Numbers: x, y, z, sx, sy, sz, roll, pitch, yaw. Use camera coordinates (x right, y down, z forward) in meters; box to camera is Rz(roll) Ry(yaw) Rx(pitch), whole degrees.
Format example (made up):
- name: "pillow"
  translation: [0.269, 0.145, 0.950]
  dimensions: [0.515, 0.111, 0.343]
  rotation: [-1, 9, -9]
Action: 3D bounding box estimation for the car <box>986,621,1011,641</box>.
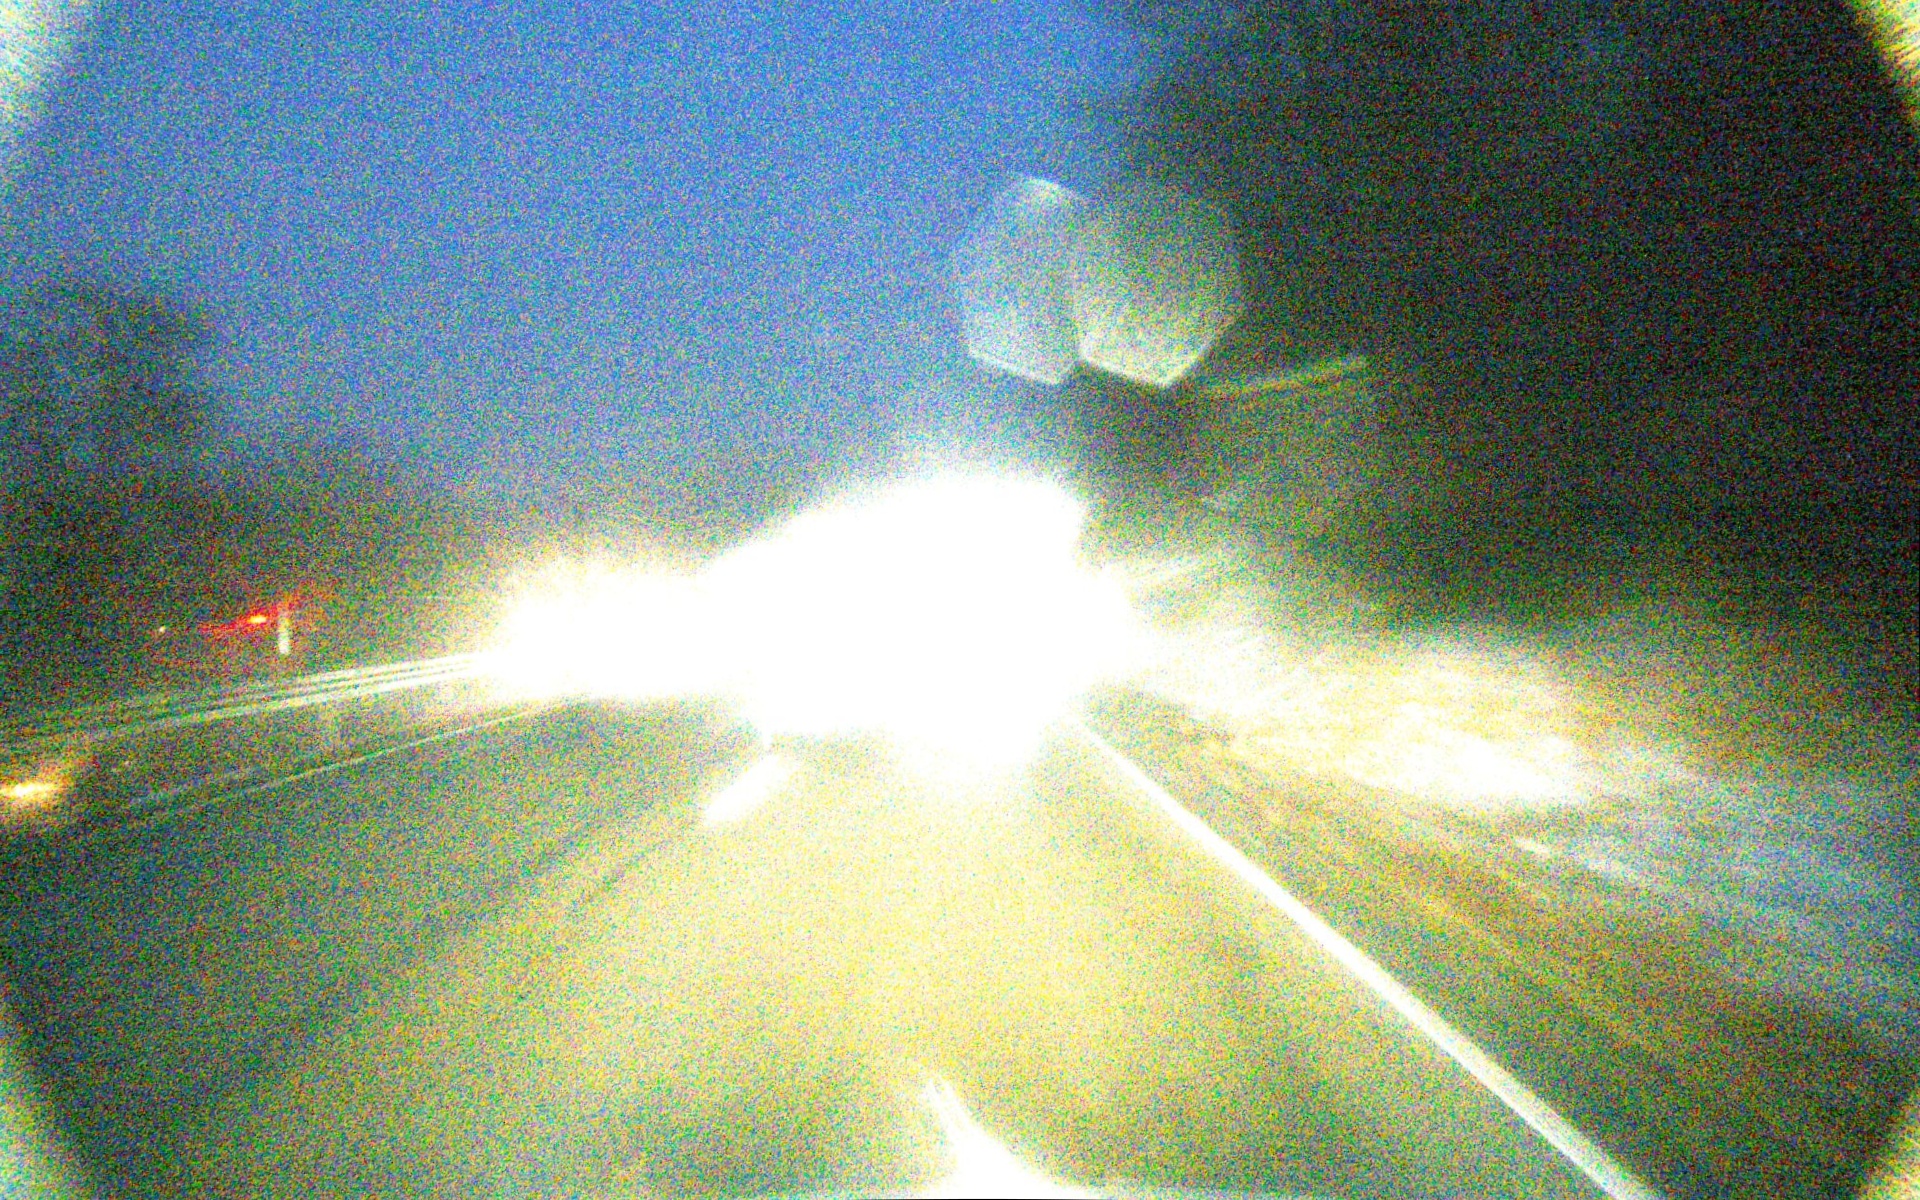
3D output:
- name: "car"
  translation: [2.907, 2.349, 124.348]
  dimensions: [1.703, 1.427, 3.862]
  rotation: [1, 0, 3]
